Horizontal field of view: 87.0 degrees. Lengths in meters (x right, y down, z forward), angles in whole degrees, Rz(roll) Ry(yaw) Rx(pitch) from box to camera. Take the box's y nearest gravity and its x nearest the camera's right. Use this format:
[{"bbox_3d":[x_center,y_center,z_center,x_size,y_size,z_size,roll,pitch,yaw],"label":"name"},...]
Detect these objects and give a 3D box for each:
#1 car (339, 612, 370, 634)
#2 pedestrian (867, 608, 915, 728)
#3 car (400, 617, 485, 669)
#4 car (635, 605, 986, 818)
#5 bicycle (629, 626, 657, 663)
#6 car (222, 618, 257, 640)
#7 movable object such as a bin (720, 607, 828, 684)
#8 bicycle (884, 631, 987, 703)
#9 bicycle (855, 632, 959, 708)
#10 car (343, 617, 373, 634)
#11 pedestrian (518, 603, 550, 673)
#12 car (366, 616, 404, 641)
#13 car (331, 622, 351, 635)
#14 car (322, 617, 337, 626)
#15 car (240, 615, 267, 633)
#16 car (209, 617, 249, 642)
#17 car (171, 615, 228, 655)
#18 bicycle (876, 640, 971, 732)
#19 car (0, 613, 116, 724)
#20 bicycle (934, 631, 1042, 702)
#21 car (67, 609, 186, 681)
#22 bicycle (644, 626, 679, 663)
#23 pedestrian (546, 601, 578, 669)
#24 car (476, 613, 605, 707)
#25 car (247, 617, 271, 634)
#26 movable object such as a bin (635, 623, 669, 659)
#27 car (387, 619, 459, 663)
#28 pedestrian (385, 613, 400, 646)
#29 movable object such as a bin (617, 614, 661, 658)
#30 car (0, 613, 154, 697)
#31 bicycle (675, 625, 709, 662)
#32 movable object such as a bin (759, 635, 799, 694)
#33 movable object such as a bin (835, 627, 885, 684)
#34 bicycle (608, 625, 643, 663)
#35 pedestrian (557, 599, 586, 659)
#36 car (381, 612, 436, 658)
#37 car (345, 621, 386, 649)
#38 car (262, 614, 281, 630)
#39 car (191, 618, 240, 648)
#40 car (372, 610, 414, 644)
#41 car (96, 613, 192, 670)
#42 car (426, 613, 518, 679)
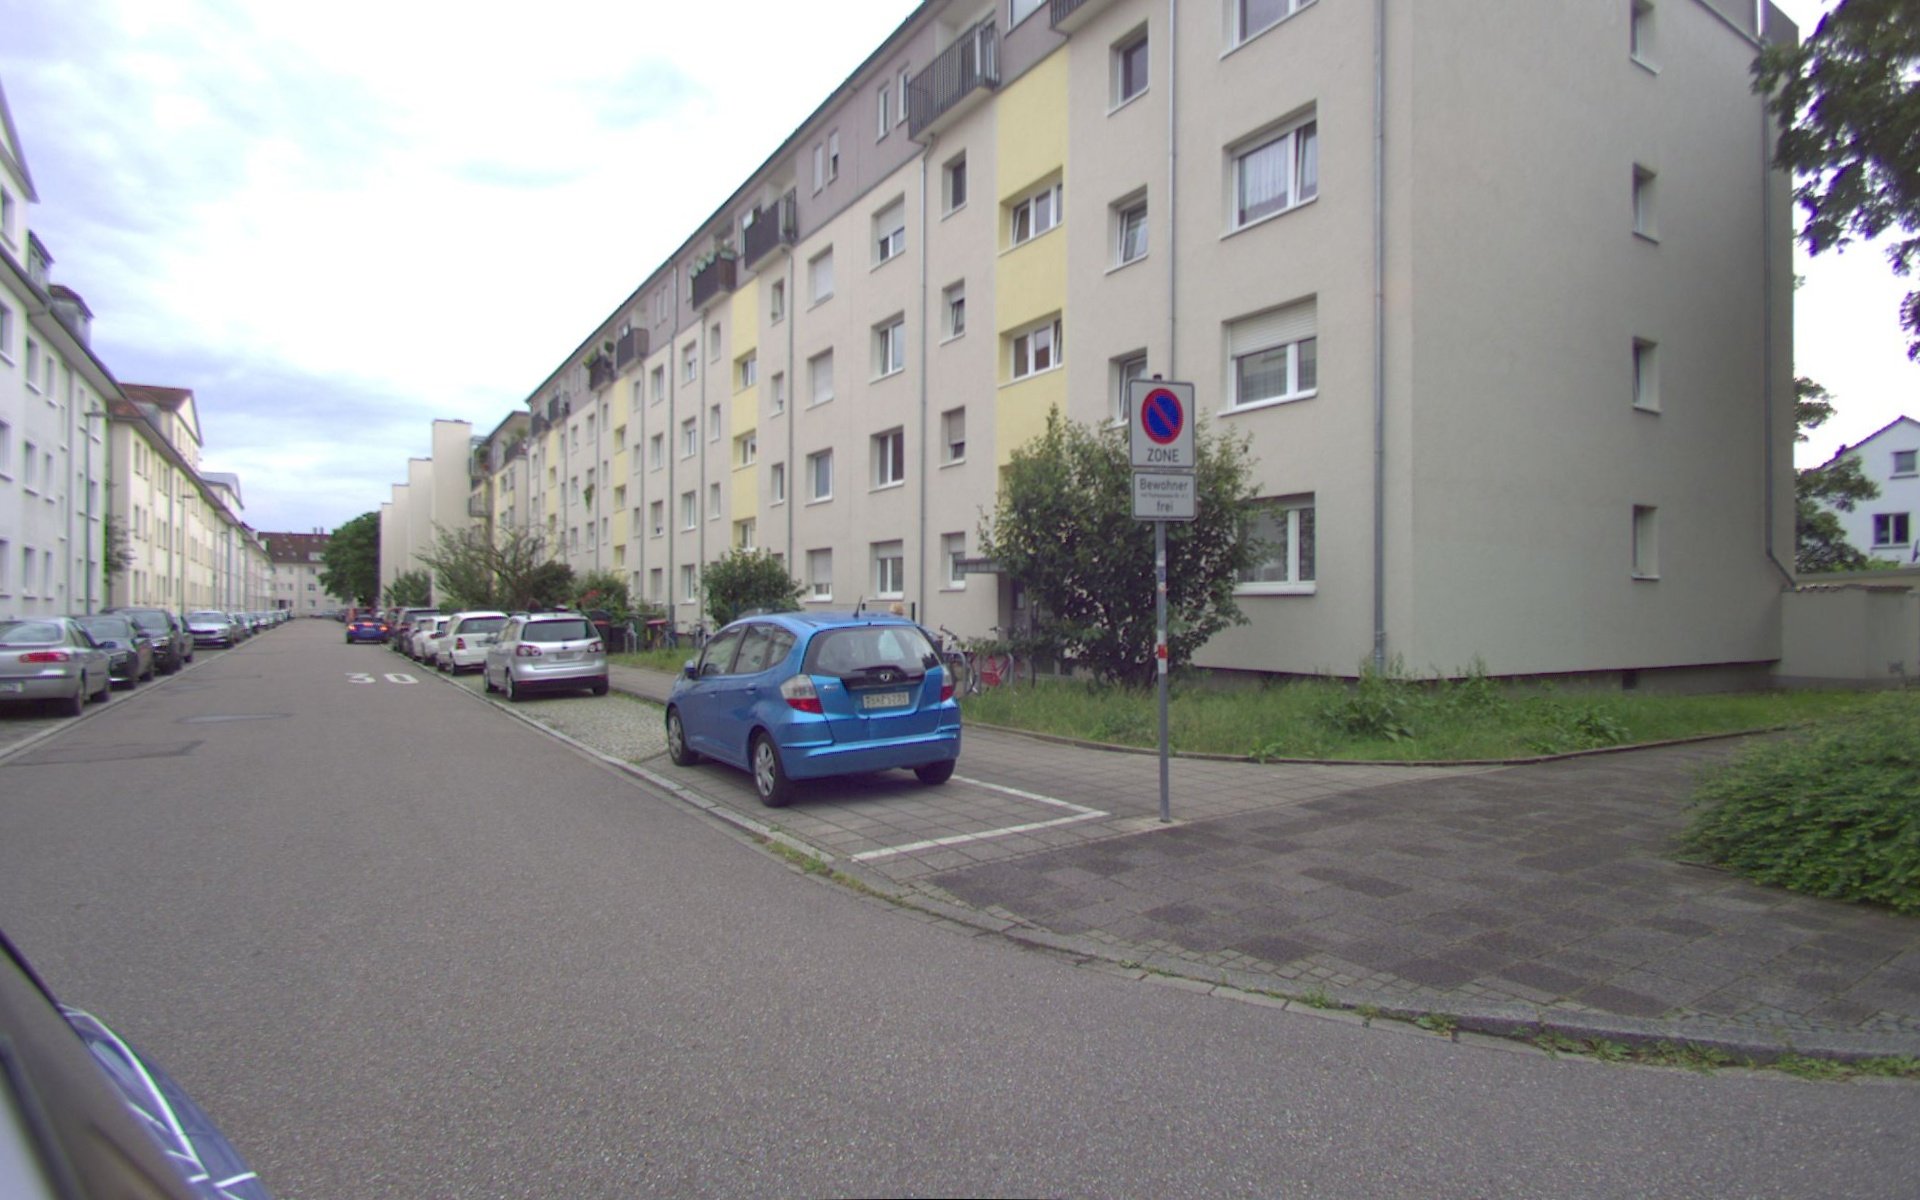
[{"bbox_3d":[-56.838,2.161,95.012,2.153,2.047,4.433,1,-2,-35],"label":"car"},{"bbox_3d":[-0.938,0.900,13.612,0.440,1.561,0.569,0,-2,-28],"label":"pedestrian"},{"bbox_3d":[-16.276,1.314,31.714,1.695,1.521,4.699,1,-2,-35],"label":"car"},{"bbox_3d":[-1.599,0.842,9.423,1.707,1.473,3.968,-2,0,-33],"label":"car"},{"bbox_3d":[-9.013,1.255,28.767,0.351,1.032,1.501,1,-1,-33],"label":"bicycle"},{"bbox_3d":[-46.728,1.873,65.684,1.709,1.382,4.228,1,-2,-34],"label":"car"},{"bbox_3d":[-3.684,0.867,19.994,1.567,1.432,1.676,0,-2,-34],"label":"movable object such as a bin"},{"bbox_3d":[-0.432,1.038,16.299,0.648,1.079,2.181,1,-2,-32],"label":"bicycle"},{"bbox_3d":[-0.858,1.031,15.565,0.648,1.076,2.128,1,-2,-32],"label":"bicycle"},{"bbox_3d":[-53.404,2.299,89.780,1.981,1.455,4.207,1,-2,-35],"label":"car"},{"bbox_3d":[-11.782,1.041,27.978,0.631,1.877,0.977,-2,0,-33],"label":"pedestrian"},{"bbox_3d":[-34.812,1.735,61.244,1.679,1.455,3.551,1,-2,-35],"label":"car"},{"bbox_3d":[-77.906,3.592,127.344,1.718,1.555,3.645,1,-2,-39],"label":"car"},{"bbox_3d":[-105.300,3.582,168.953,1.718,1.555,3.645,1,-2,-39],"label":"car"},{"bbox_3d":[-57.102,1.940,81.884,1.709,1.463,4.228,1,-2,-34],"label":"car"},{"bbox_3d":[-42.658,1.732,59.109,1.709,1.421,4.228,1,-2,-34],"label":"car"},{"bbox_3d":[-31.628,1.418,42.174,1.709,1.559,3.687,1,-1,-34],"label":"car"},{"bbox_3d":[-0.523,1.112,13.588,0.528,1.128,1.824,0,-2,-28],"label":"bicycle"},{"bbox_3d":[-14.059,0.944,15.157,1.709,1.474,4.442,1,-2,-34],"label":"car"},{"bbox_3d":[0.415,1.041,16.474,0.648,1.079,2.181,1,-2,-32],"label":"bicycle"},{"bbox_3d":[-20.197,1.054,24.683,1.823,1.611,4.171,1,-2,-34],"label":"car"},{"bbox_3d":[-8.557,1.252,28.962,0.472,1.032,1.759,1,-1,-33],"label":"bicycle"},{"bbox_3d":[-11.032,0.958,28.038,0.697,1.868,0.765,1,-2,-33],"label":"pedestrian"},{"bbox_3d":[-8.155,1.075,19.488,1.631,1.562,3.926,-1,-1,-32],"label":"car"},{"bbox_3d":[-62.394,2.279,90.149,1.709,1.463,4.228,1,-2,-34],"label":"car"},{"bbox_3d":[-10.040,1.321,32.990,0.857,1.117,0.789,0,0,-37],"label":"movable object such as a bin"},{"bbox_3d":[-19.161,1.400,36.037,1.702,1.464,4.494,1,-1,-35],"label":"car"},{"bbox_3d":[-29.081,1.506,51.833,0.594,1.679,0.624,1,-2,-35],"label":"pedestrian"},{"bbox_3d":[-10.734,1.185,33.818,1.043,1.385,1.192,0,0,-38],"label":"movable object such as a bin"},{"bbox_3d":[-17.303,1.025,20.020,1.757,1.474,4.334,1,-2,-34],"label":"car"},{"bbox_3d":[-7.811,1.249,29.417,0.414,1.032,1.563,1,-2,-36],"label":"bicycle"},{"bbox_3d":[-3.328,1.167,18.572,0.529,1.041,0.599,1,-2,-34],"label":"movable object such as a bin"},{"bbox_3d":[-2.046,1.119,20.673,0.830,1.125,0.599,1,-2,-35],"label":"movable object such as a bin"},{"bbox_3d":[-9.465,1.235,28.598,0.481,1.032,1.883,1,-1,-33],"label":"bicycle"},{"bbox_3d":[-11.026,0.818,28.742,0.606,1.669,0.805,1,-2,-33],"label":"pedestrian"},{"bbox_3d":[-22.435,1.409,41.120,1.549,1.794,4.464,1,-2,-34],"label":"car"},{"bbox_3d":[-29.751,1.727,50.569,1.652,1.325,3.919,1,-2,-32],"label":"car"},{"bbox_3d":[-78.033,2.493,114.705,1.709,1.692,3.601,1,-2,-34],"label":"car"},{"bbox_3d":[-36.490,1.596,49.673,1.709,1.437,4.229,1,-2,-33],"label":"car"},{"bbox_3d":[-31.421,1.476,56.053,1.679,1.820,3.551,1,-2,-35],"label":"car"},{"bbox_3d":[-23.148,1.145,28.816,1.709,1.498,3.767,1,-2,-33],"label":"car"},{"bbox_3d":[-13.104,1.179,27.077,1.662,1.651,3.737,1,-1,-34],"label":"car"}]
